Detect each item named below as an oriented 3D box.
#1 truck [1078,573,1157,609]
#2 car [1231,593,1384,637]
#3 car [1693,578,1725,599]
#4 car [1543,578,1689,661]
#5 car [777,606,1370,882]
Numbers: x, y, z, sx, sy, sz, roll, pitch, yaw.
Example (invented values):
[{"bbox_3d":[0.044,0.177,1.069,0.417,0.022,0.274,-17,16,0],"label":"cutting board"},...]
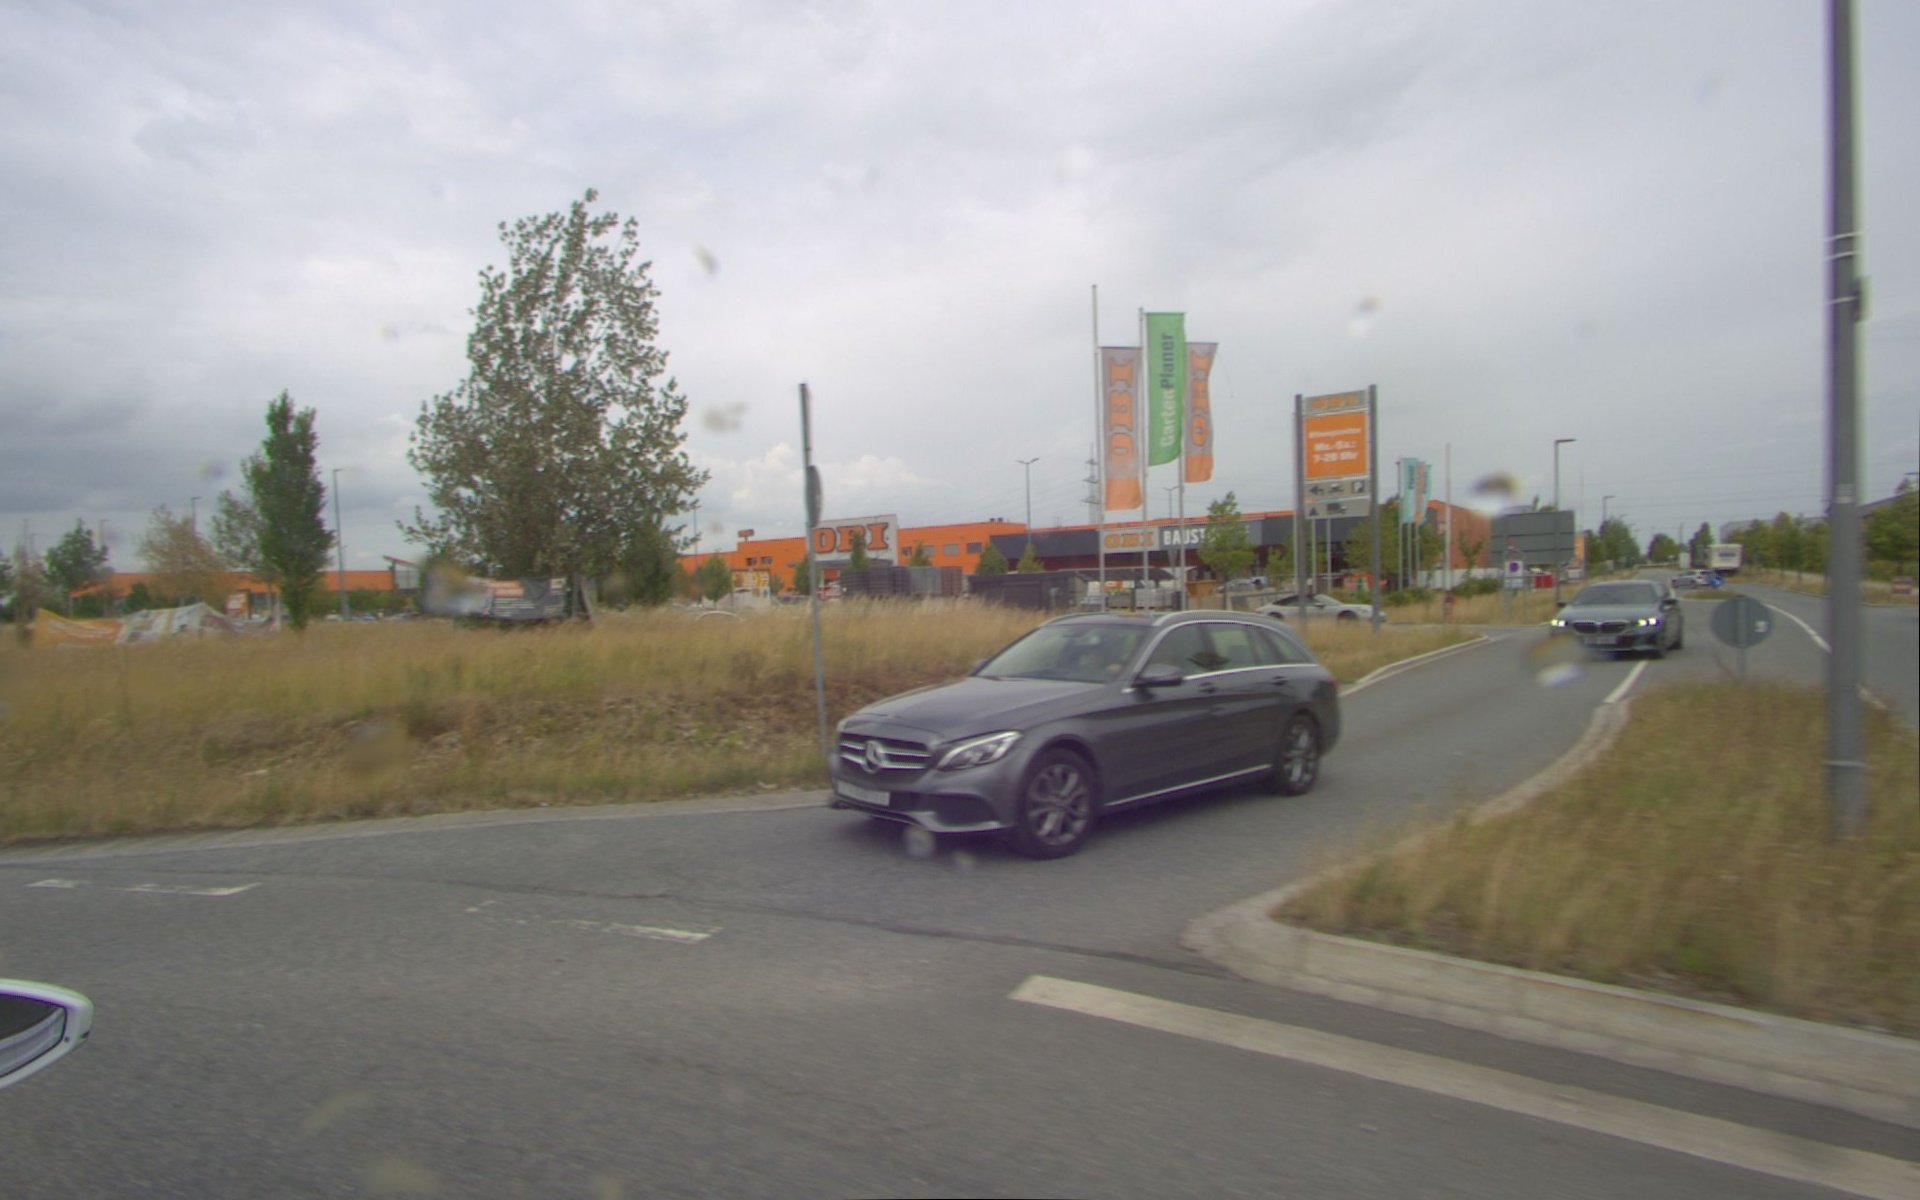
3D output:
[{"bbox_3d":[12.150,-0.643,77.288,5.471,2.516,2.428,-2,-1,31],"label":"truck"},{"bbox_3d":[11.944,0.498,34.538,4.694,1.422,1.732,0,0,36],"label":"car"},{"bbox_3d":[57.772,-0.901,77.283,1.788,1.484,3.975,3,3,34],"label":"car"},{"bbox_3d":[13.722,0.390,20.813,1.977,1.526,4.645,-2,-1,40],"label":"car"},{"bbox_3d":[1.122,0.783,7.543,4.640,1.422,1.910,0,-1,-43],"label":"car"}]
